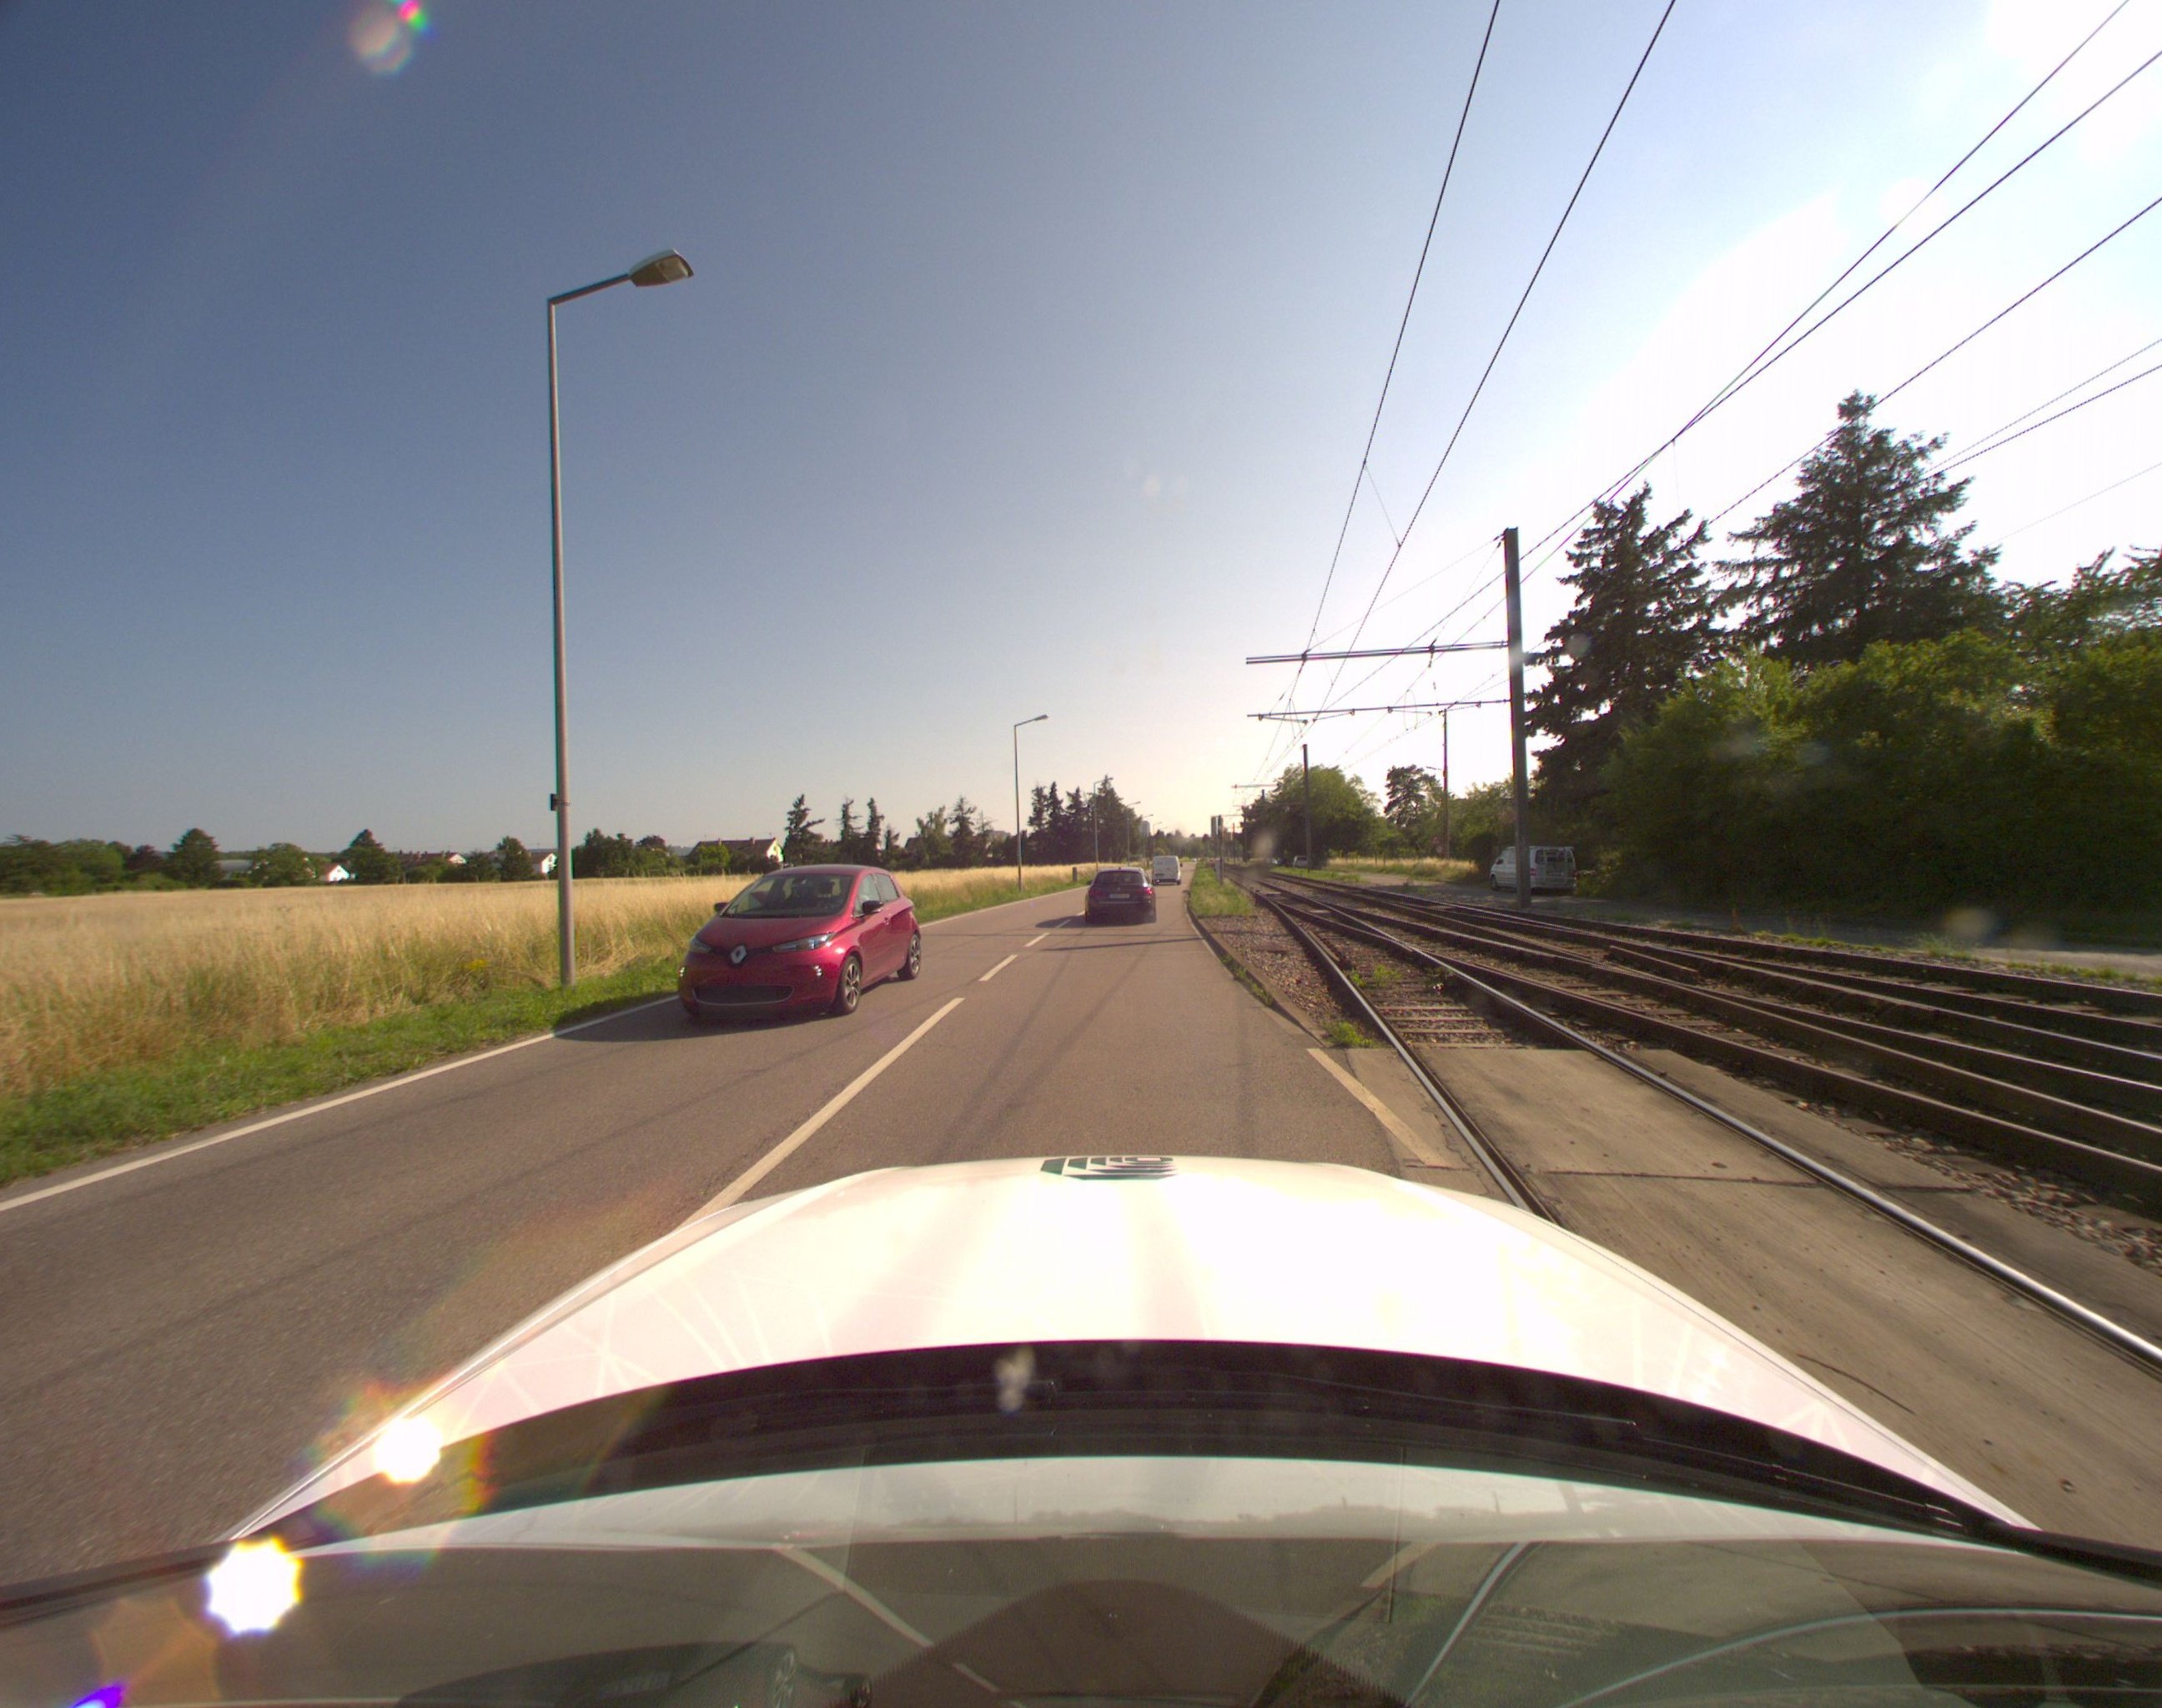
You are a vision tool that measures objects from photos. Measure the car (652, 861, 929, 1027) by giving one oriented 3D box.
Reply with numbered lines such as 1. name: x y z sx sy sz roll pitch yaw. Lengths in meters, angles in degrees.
1. car: -3.127 0.894 9.678 1.705 1.549 3.931 -1 -1 3

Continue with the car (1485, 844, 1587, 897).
1. car: 18.982 0.666 34.264 1.983 2.004 5.077 1 0 7

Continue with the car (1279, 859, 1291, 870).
1. car: 34.264 1.766 136.943 1.724 1.680 3.554 0 -2 11

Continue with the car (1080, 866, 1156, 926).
1. car: 1.055 1.089 22.650 1.861 1.452 4.747 -1 -1 3

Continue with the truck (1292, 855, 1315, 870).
1. truck: 29.768 1.138 109.119 2.192 1.819 5.942 -1 -1 8

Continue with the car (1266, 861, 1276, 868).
1. car: 36.245 1.987 155.109 1.612 1.399 3.497 0 -2 8

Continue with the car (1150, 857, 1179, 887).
1. car: 5.828 1.224 57.282 1.849 1.988 5.114 -1 0 5
